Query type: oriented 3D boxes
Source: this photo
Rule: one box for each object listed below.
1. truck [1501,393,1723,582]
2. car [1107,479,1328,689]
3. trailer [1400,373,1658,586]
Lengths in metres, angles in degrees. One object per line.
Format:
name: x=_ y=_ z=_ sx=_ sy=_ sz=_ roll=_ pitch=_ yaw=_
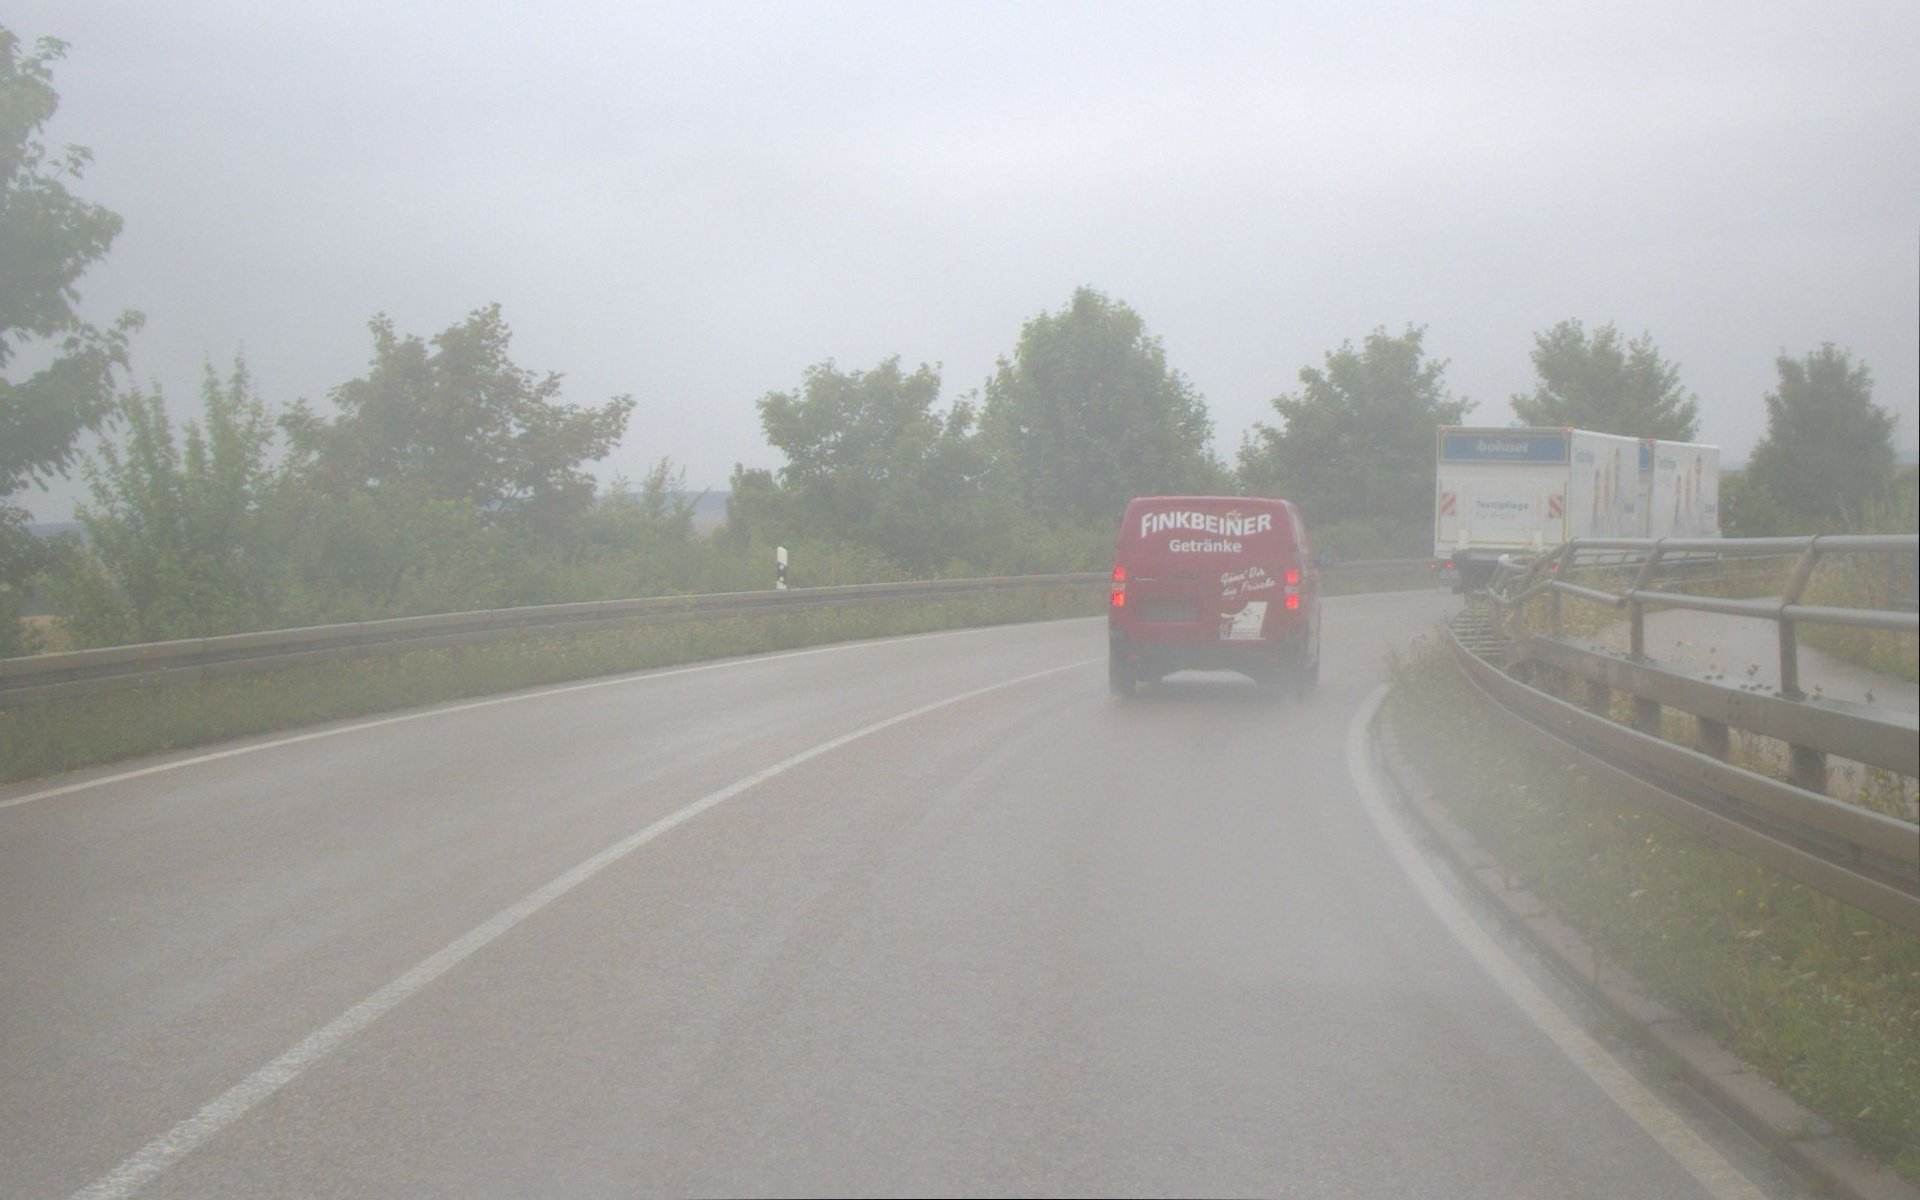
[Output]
truck: x=14.542 y=-2.458 z=76.087 sx=3.205 sy=3.908 sz=8.730 roll=2 pitch=2 yaw=21
car: x=2.580 y=-0.210 z=33.603 sx=1.994 sy=1.919 sz=4.143 roll=0 pitch=2 yaw=6
trailer: x=11.382 y=-2.337 z=67.969 sx=3.205 sy=3.908 sz=8.730 roll=2 pitch=2 yaw=21
